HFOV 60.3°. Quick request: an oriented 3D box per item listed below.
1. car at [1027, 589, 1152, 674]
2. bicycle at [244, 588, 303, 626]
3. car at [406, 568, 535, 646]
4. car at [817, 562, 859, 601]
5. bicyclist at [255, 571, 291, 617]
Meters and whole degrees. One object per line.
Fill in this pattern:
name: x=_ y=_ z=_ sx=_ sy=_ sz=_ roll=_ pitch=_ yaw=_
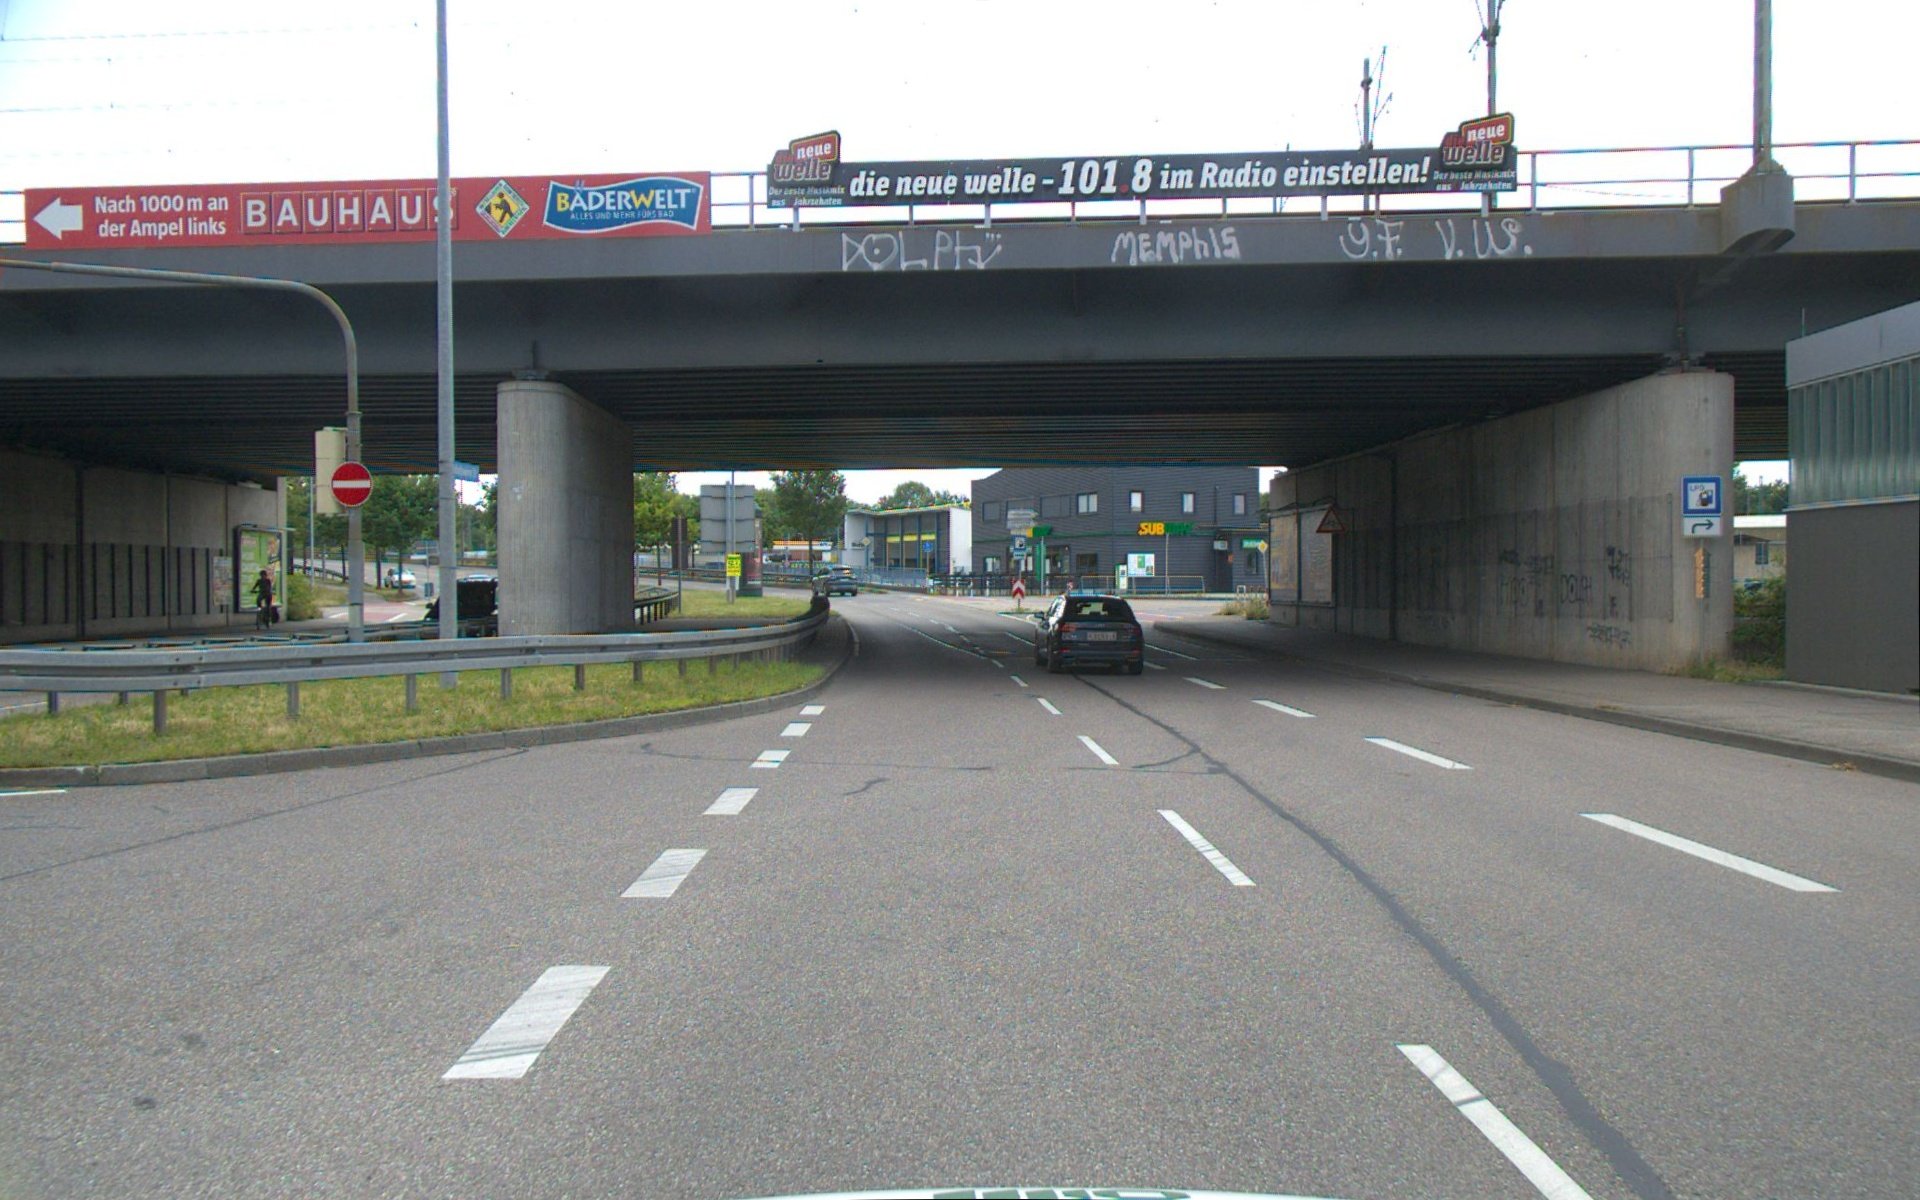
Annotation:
car: x=2.403 y=0.549 z=31.803 sx=1.953 sy=1.414 sz=4.575 roll=1 pitch=1 yaw=-1
bicycle: x=-21.552 y=0.208 z=51.958 sx=0.666 sy=1.162 sz=2.285 roll=1 pitch=0 yaw=6
car: x=-11.937 y=0.146 z=40.620 sx=1.954 sy=1.789 sz=4.714 roll=-1 pitch=1 yaw=-3
car: x=-6.768 y=-1.004 z=91.422 sx=1.956 sy=2.073 sz=4.704 roll=-1 pitch=0 yaw=-8
bicyclist: x=-21.553 y=-0.194 z=51.883 sx=0.667 sy=1.432 sz=0.925 roll=1 pitch=0 yaw=6
